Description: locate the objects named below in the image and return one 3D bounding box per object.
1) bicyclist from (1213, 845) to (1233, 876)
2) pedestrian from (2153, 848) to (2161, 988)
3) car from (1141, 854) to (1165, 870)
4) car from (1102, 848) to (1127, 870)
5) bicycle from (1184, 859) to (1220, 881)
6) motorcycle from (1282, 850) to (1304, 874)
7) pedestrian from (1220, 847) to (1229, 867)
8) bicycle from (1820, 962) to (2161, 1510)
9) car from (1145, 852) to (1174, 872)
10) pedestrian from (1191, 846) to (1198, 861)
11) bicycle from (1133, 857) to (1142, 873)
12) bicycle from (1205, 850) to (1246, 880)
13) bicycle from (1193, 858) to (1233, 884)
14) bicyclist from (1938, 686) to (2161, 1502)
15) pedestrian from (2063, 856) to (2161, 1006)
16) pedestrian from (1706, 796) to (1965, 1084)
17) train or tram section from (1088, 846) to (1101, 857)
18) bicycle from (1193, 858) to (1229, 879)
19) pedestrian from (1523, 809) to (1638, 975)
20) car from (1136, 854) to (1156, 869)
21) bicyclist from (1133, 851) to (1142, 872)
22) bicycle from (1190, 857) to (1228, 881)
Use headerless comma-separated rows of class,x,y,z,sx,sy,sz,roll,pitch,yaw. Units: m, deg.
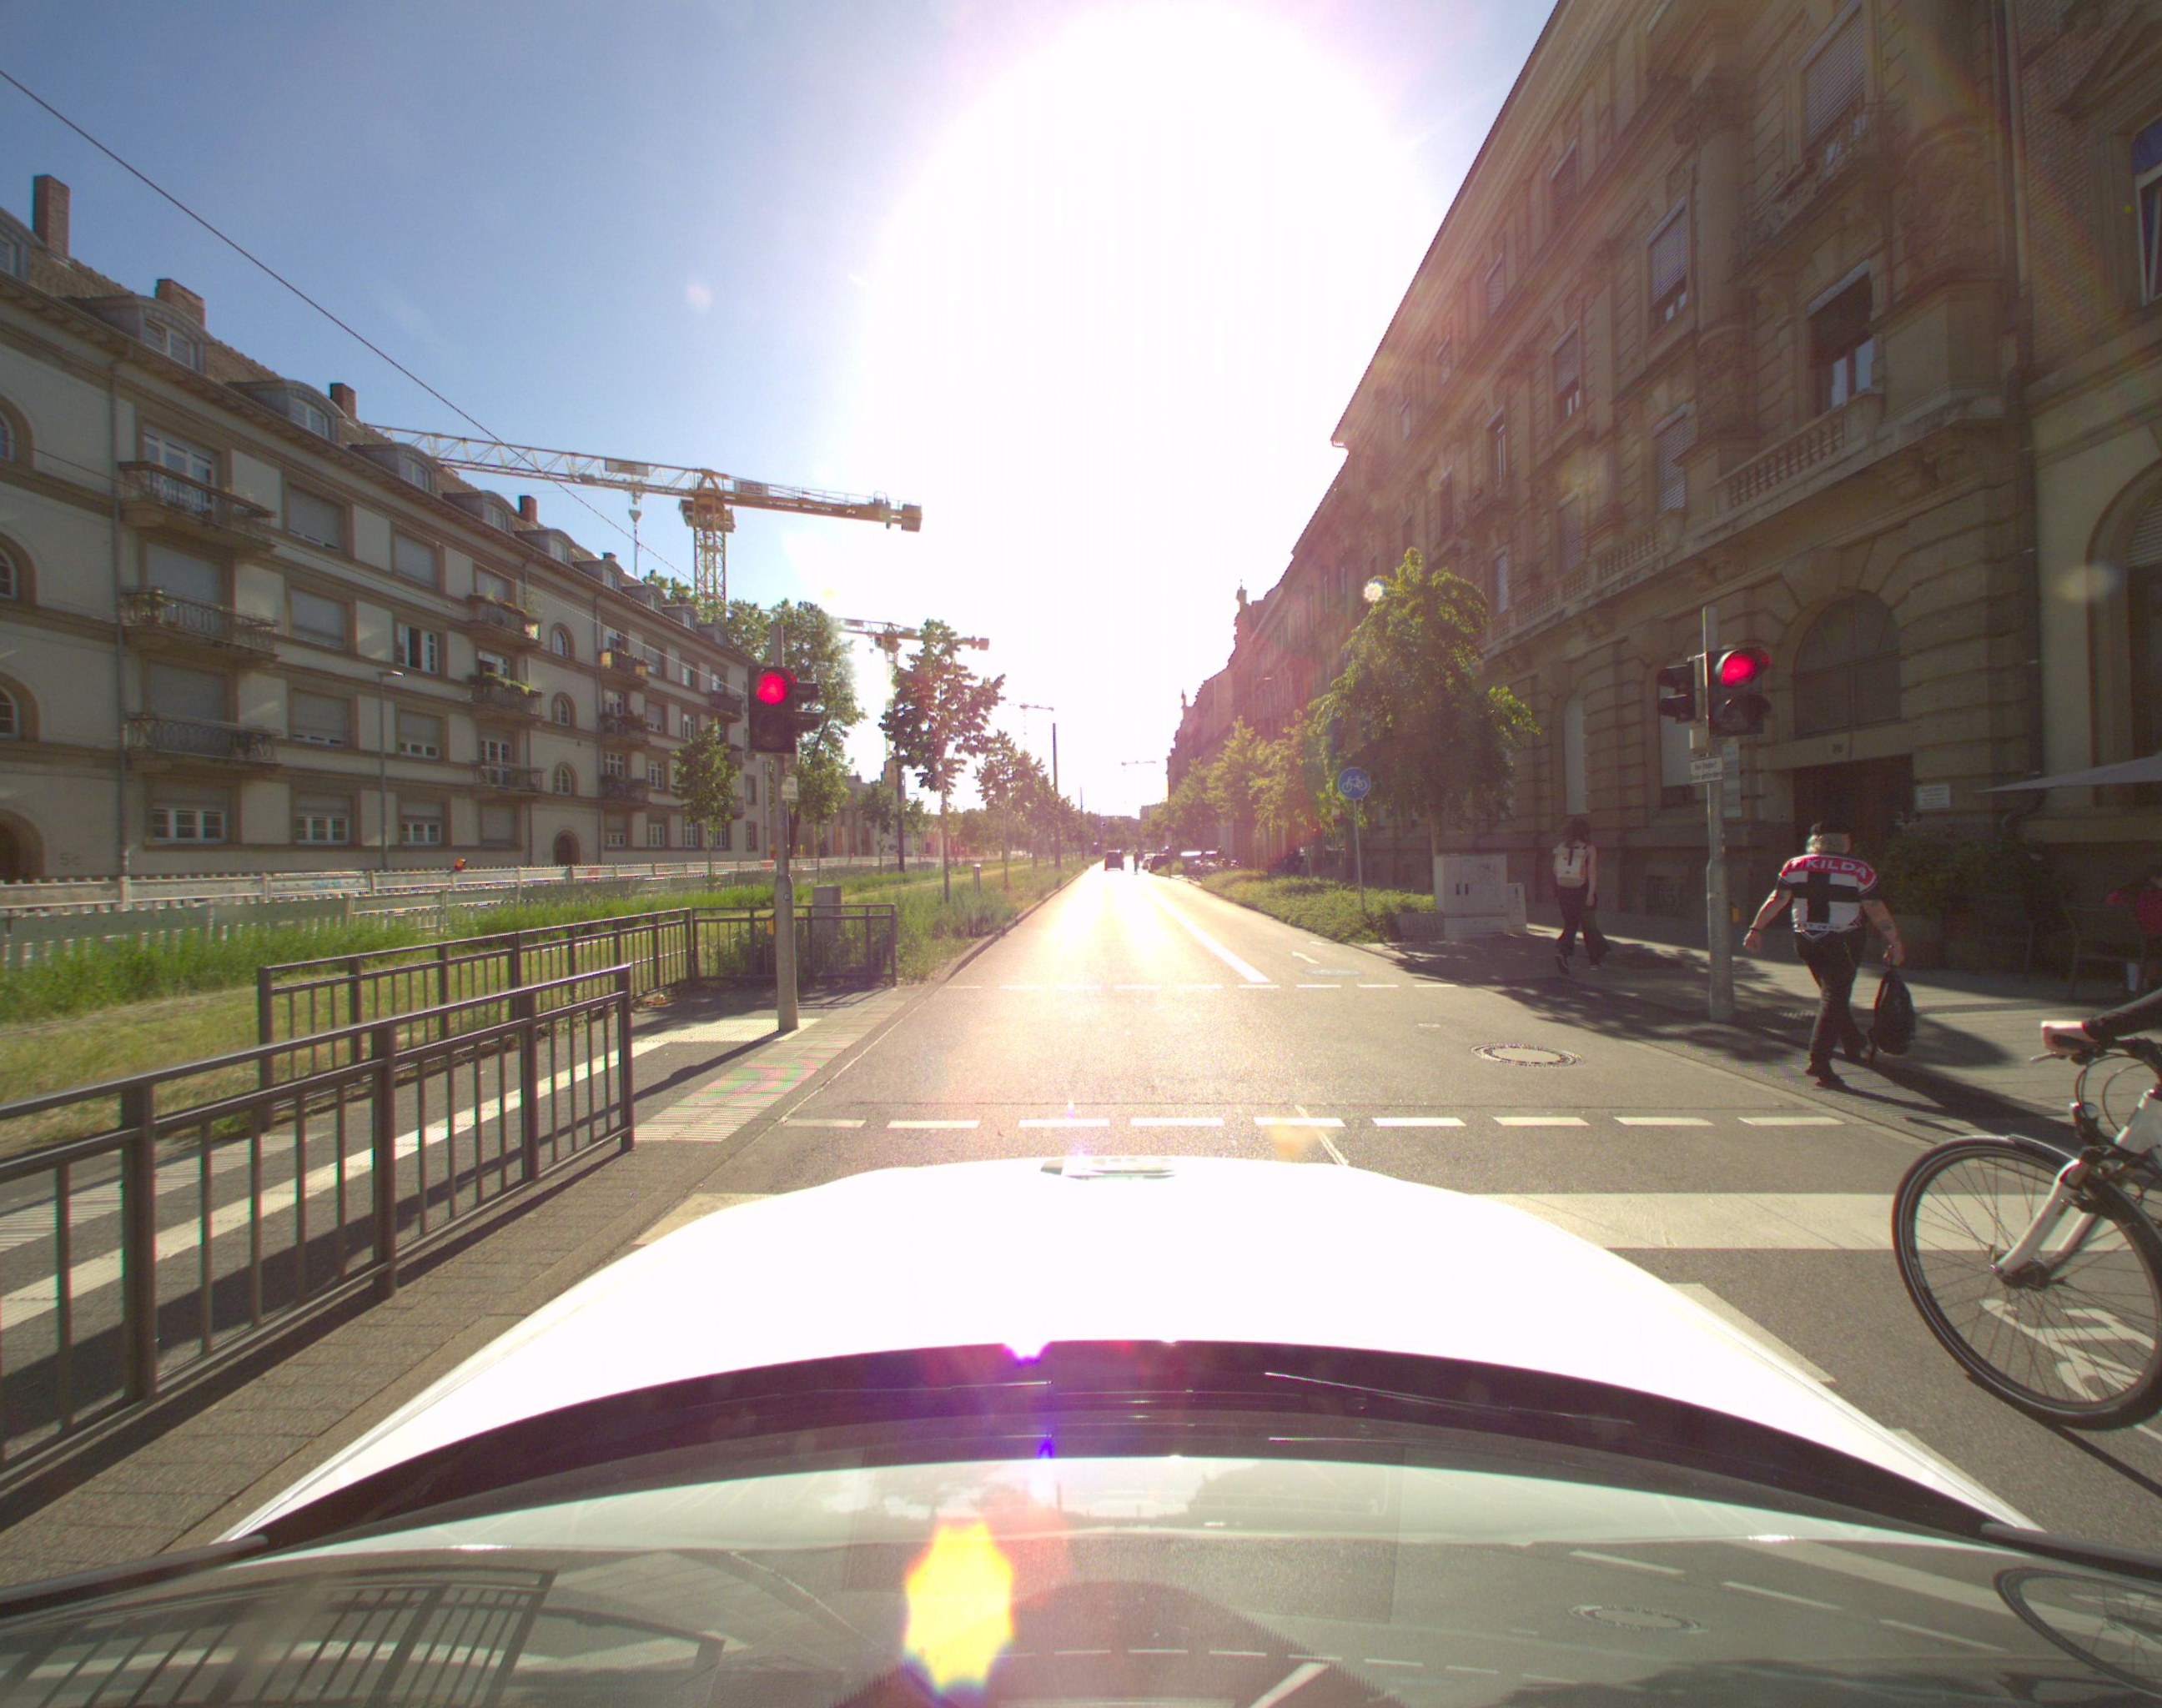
bicyclist,7.202,0.326,41.222,0.794,1.530,0.663,-6,0,5
pedestrian,9.889,0.553,6.905,0.703,1.236,0.635,-3,0,1
car,6.986,0.739,79.773,2.020,1.499,4.532,-2,0,2
car,3.125,0.426,76.480,2.192,1.926,4.655,-2,0,2
bicycle,6.542,0.861,43.925,1.786,1.030,0.528,-6,0,1
motorcycle,11.443,0.413,44.027,0.697,1.267,1.983,-2,0,2
pedestrian,11.600,0.268,65.933,0.611,1.611,0.669,-2,0,1
bicycle,2.668,0.905,1.758,0.555,1.092,1.793,0,0,1
car,6.435,0.636,67.378,2.020,1.499,4.655,-2,0,2
pedestrian,12.465,-0.023,89.282,0.611,1.611,0.669,-2,0,1
bicycle,4.450,0.848,64.198,0.599,1.181,1.870,0,0,1
bicycle,7.288,0.562,41.238,1.885,1.330,0.618,-6,0,5
bicycle,6.395,0.822,39.580,1.786,1.030,0.528,-6,0,1
bicyclist,2.658,0.505,1.727,0.776,1.711,0.869,0,0,1
pedestrian,9.104,0.626,6.913,0.703,1.178,0.635,-3,0,1
pedestrian,5.099,0.531,5.579,0.863,1.788,0.969,-1,0,-5
train or tram section,3.423,-0.596,198.527,2.744,2.743,9.872,0,-1,3
bicycle,6.780,0.756,42.480,1.786,1.030,0.528,-2,0,1
pedestrian,6.074,0.425,9.905,1.080,1.908,0.648,-2,0,-24
car,7.329,0.835,92.301,2.020,1.499,4.532,-2,0,2
bicyclist,4.478,0.597,64.497,0.682,1.673,0.922,0,0,1
bicycle,6.429,0.764,40.979,1.786,1.030,0.528,-6,0,1
